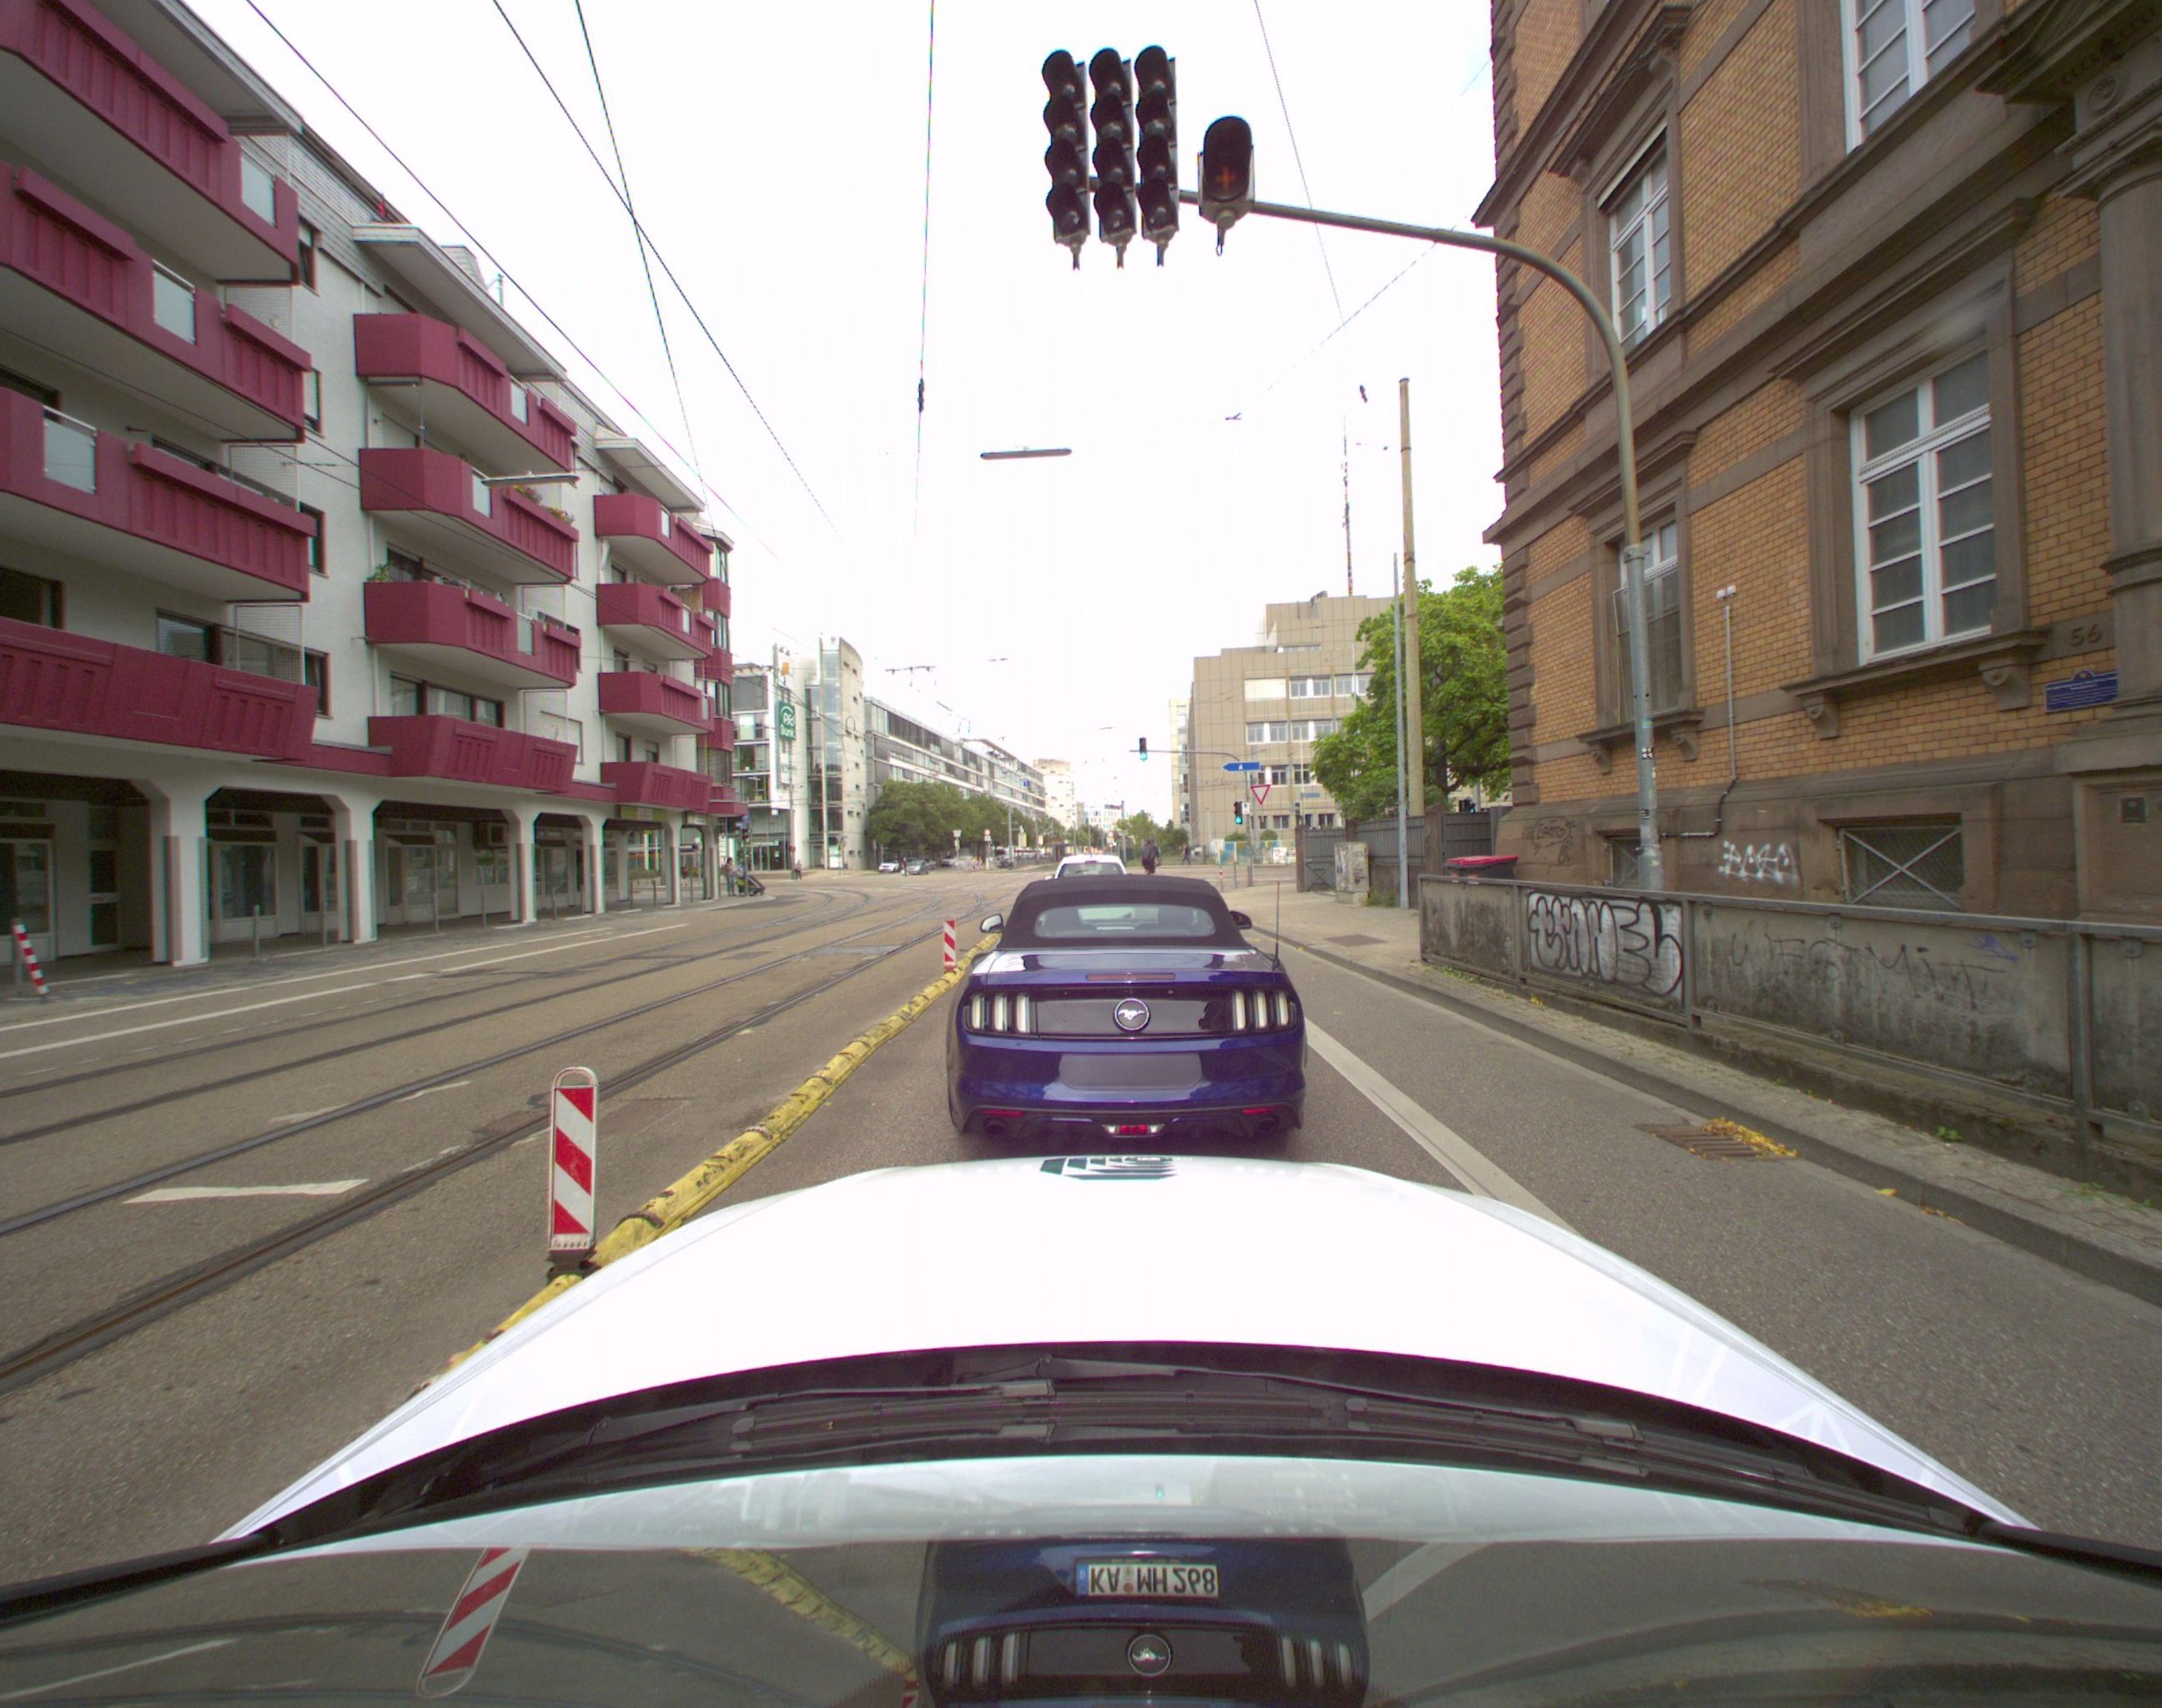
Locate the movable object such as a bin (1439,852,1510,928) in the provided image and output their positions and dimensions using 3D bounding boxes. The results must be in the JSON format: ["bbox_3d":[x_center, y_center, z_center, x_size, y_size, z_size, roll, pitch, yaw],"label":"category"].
[{"bbox_3d":[6.045,0.536,12.548,0.649,1.082,0.677,-5,-1,-4],"label":"movable object such as a bin"}]

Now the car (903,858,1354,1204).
[{"bbox_3d":[0.275,0.754,5.544,1.869,1.404,4.284,0,0,2],"label":"car"}]

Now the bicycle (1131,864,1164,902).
[{"bbox_3d":[2.057,0.869,25.448,0.798,1.086,2.131,-2,0,0],"label":"bicycle"}]

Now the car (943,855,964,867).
[{"bbox_3d":[-18.305,0.972,116.989,1.978,1.556,4.516,0,0,3],"label":"car"}]

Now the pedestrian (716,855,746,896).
[{"bbox_3d":[-15.300,0.925,35.630,0.945,1.743,0.811,-2,0,-2],"label":"pedestrian"}]

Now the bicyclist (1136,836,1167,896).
[{"bbox_3d":[2.190,0.366,25.340,0.793,1.785,1.233,-2,0,0],"label":"bicyclist"}]

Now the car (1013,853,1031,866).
[{"bbox_3d":[-8.017,0.704,111.178,1.861,1.605,4.214,-2,0,2],"label":"car"}]

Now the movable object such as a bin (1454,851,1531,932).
[{"bbox_3d":[5.962,0.526,11.834,0.662,1.082,0.700,-5,-1,-3],"label":"movable object such as a bin"}]

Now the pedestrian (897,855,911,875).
[{"bbox_3d":[-16.759,1.011,77.160,0.983,1.855,0.904,-2,0,8],"label":"pedestrian"}]

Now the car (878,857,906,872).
[{"bbox_3d":[-21.229,1.176,91.702,1.820,1.556,4.223,0,0,6],"label":"car"}]

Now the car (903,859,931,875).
[{"bbox_3d":[-16.807,1.286,83.583,1.659,1.506,4.242,0,0,6],"label":"car"}]

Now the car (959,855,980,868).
[{"bbox_3d":[-14.242,0.926,103.911,1.706,1.660,4.140,0,0,6],"label":"car"}]

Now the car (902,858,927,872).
[{"bbox_3d":[-20.140,1.325,98.815,1.820,1.556,4.223,0,0,6],"label":"car"}]

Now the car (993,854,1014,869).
[{"bbox_3d":[-9.281,0.856,97.663,1.872,1.628,4.089,-2,0,2],"label":"car"}]

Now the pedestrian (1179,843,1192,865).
[{"bbox_3d":[9.001,-0.018,70.227,1.080,1.898,0.904,-2,0,7],"label":"pedestrian"}]

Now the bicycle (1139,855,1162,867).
[{"bbox_3d":[6.184,0.642,72.742,0.637,0.981,2.133,-2,-2,-40],"label":"bicycle"}]

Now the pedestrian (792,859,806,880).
[{"bbox_3d":[-25.308,1.372,72.970,0.828,1.865,0.769,-2,0,14],"label":"pedestrian"}]

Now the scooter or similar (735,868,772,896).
[{"bbox_3d":[-14.339,1.218,35.684,1.192,1.128,0.946,-1,0,-1],"label":"scooter or similar"}]

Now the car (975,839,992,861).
[{"bbox_3d":[-16.220,-0.620,135.977,1.978,3.636,4.516,0,0,3],"label":"car"}]

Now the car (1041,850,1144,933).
[{"bbox_3d":[0.132,0.681,16.883,1.831,1.439,4.183,-2,0,-2],"label":"car"}]

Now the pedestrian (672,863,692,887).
[{"bbox_3d":[-28.583,1.517,58.375,0.928,1.671,0.769,-2,0,14],"label":"pedestrian"}]

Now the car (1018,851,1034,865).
[{"bbox_3d":[-7.836,0.556,116.346,1.778,1.987,4.123,-2,0,2],"label":"car"}]
